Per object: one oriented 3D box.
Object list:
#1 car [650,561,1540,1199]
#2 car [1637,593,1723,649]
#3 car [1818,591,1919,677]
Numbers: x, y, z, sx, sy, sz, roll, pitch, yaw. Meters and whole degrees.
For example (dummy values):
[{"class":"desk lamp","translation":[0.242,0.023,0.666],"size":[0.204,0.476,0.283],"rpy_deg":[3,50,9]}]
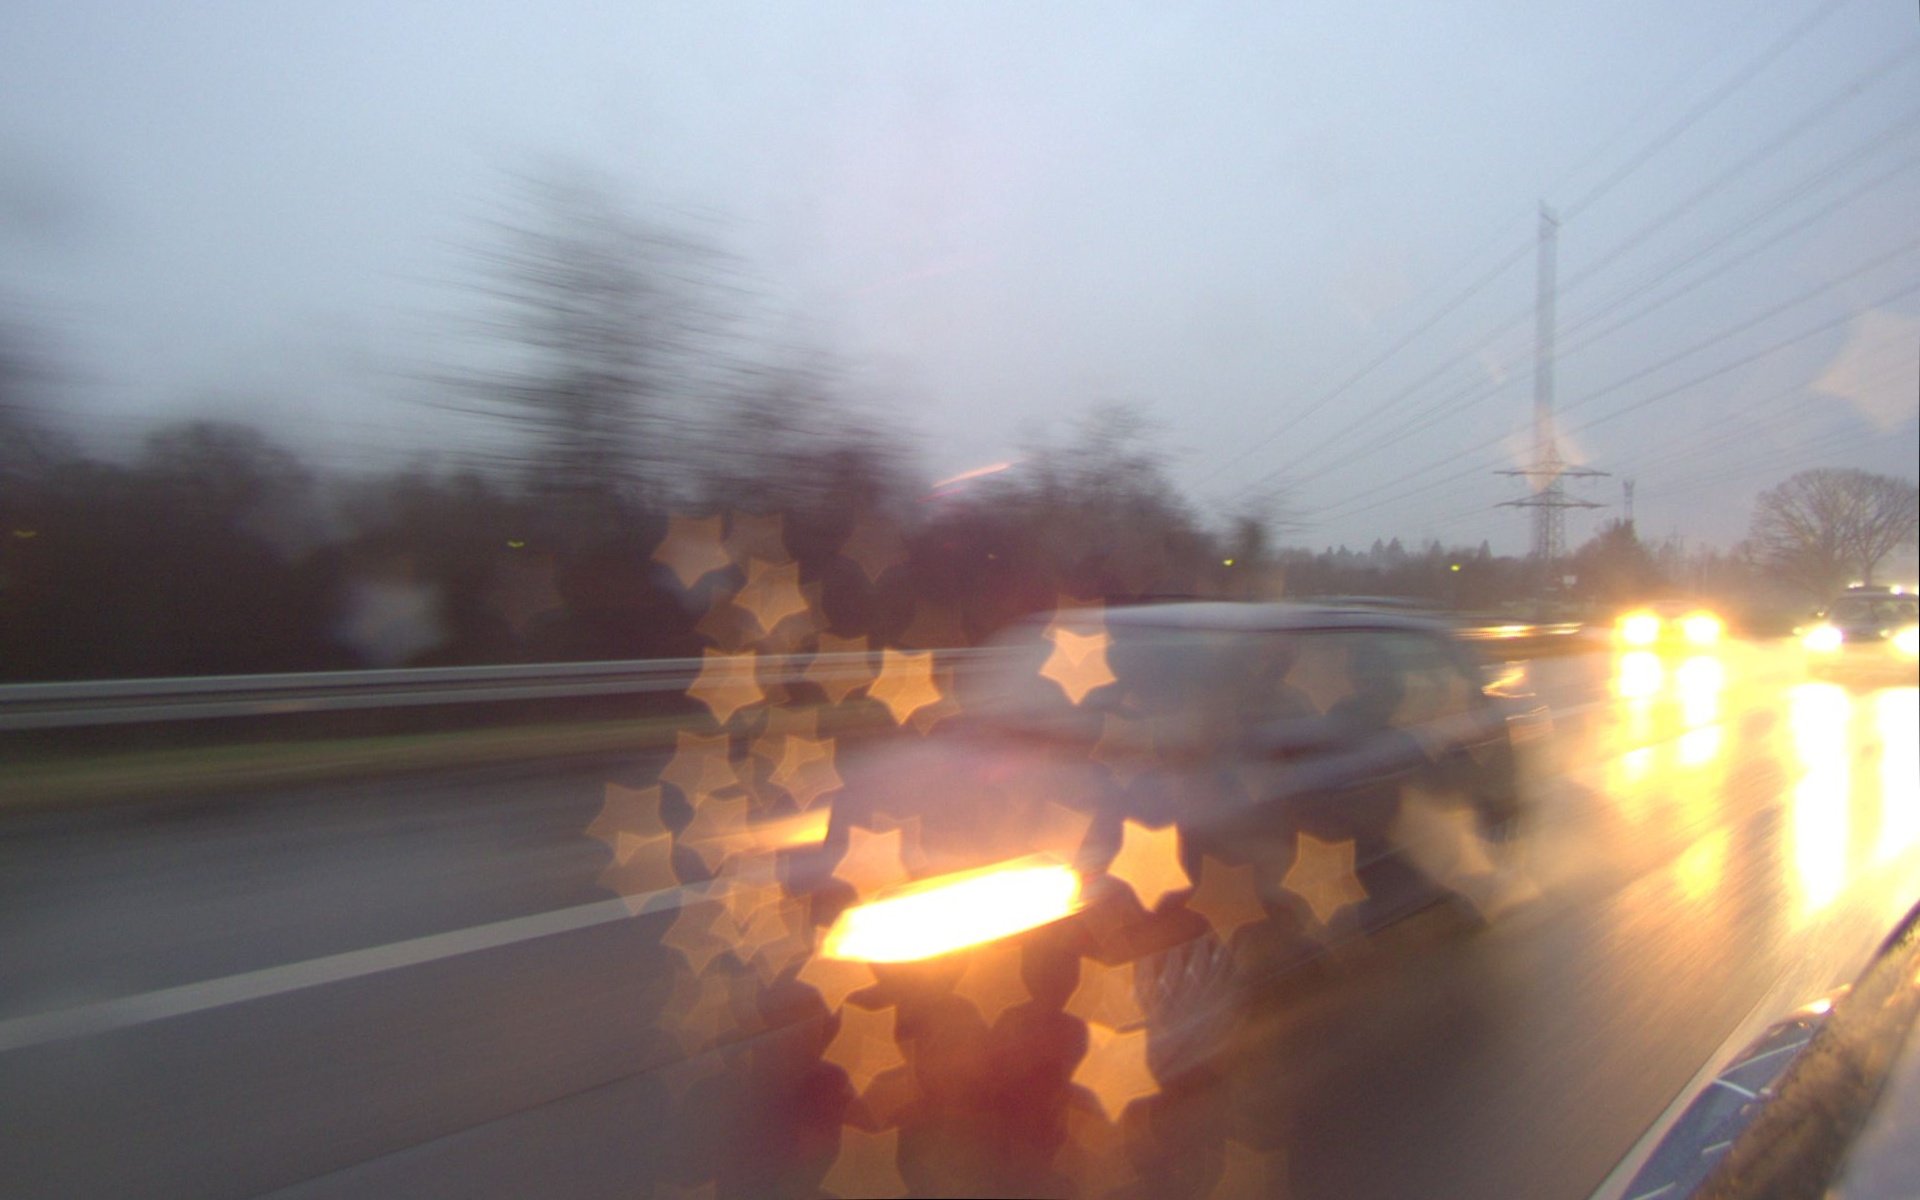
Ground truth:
[{"class":"car","translation":[0.779,0.643,4.051],"size":[3.531,1.509,1.597],"rpy_deg":[0,1,-41]},{"class":"car","translation":[20.853,0.556,29.448],"size":[1.780,1.452,3.777],"rpy_deg":[1,1,32]},{"class":"car","translation":[18.208,0.600,19.748],"size":[3.742,1.527,1.681],"rpy_deg":[0,1,-41]}]
